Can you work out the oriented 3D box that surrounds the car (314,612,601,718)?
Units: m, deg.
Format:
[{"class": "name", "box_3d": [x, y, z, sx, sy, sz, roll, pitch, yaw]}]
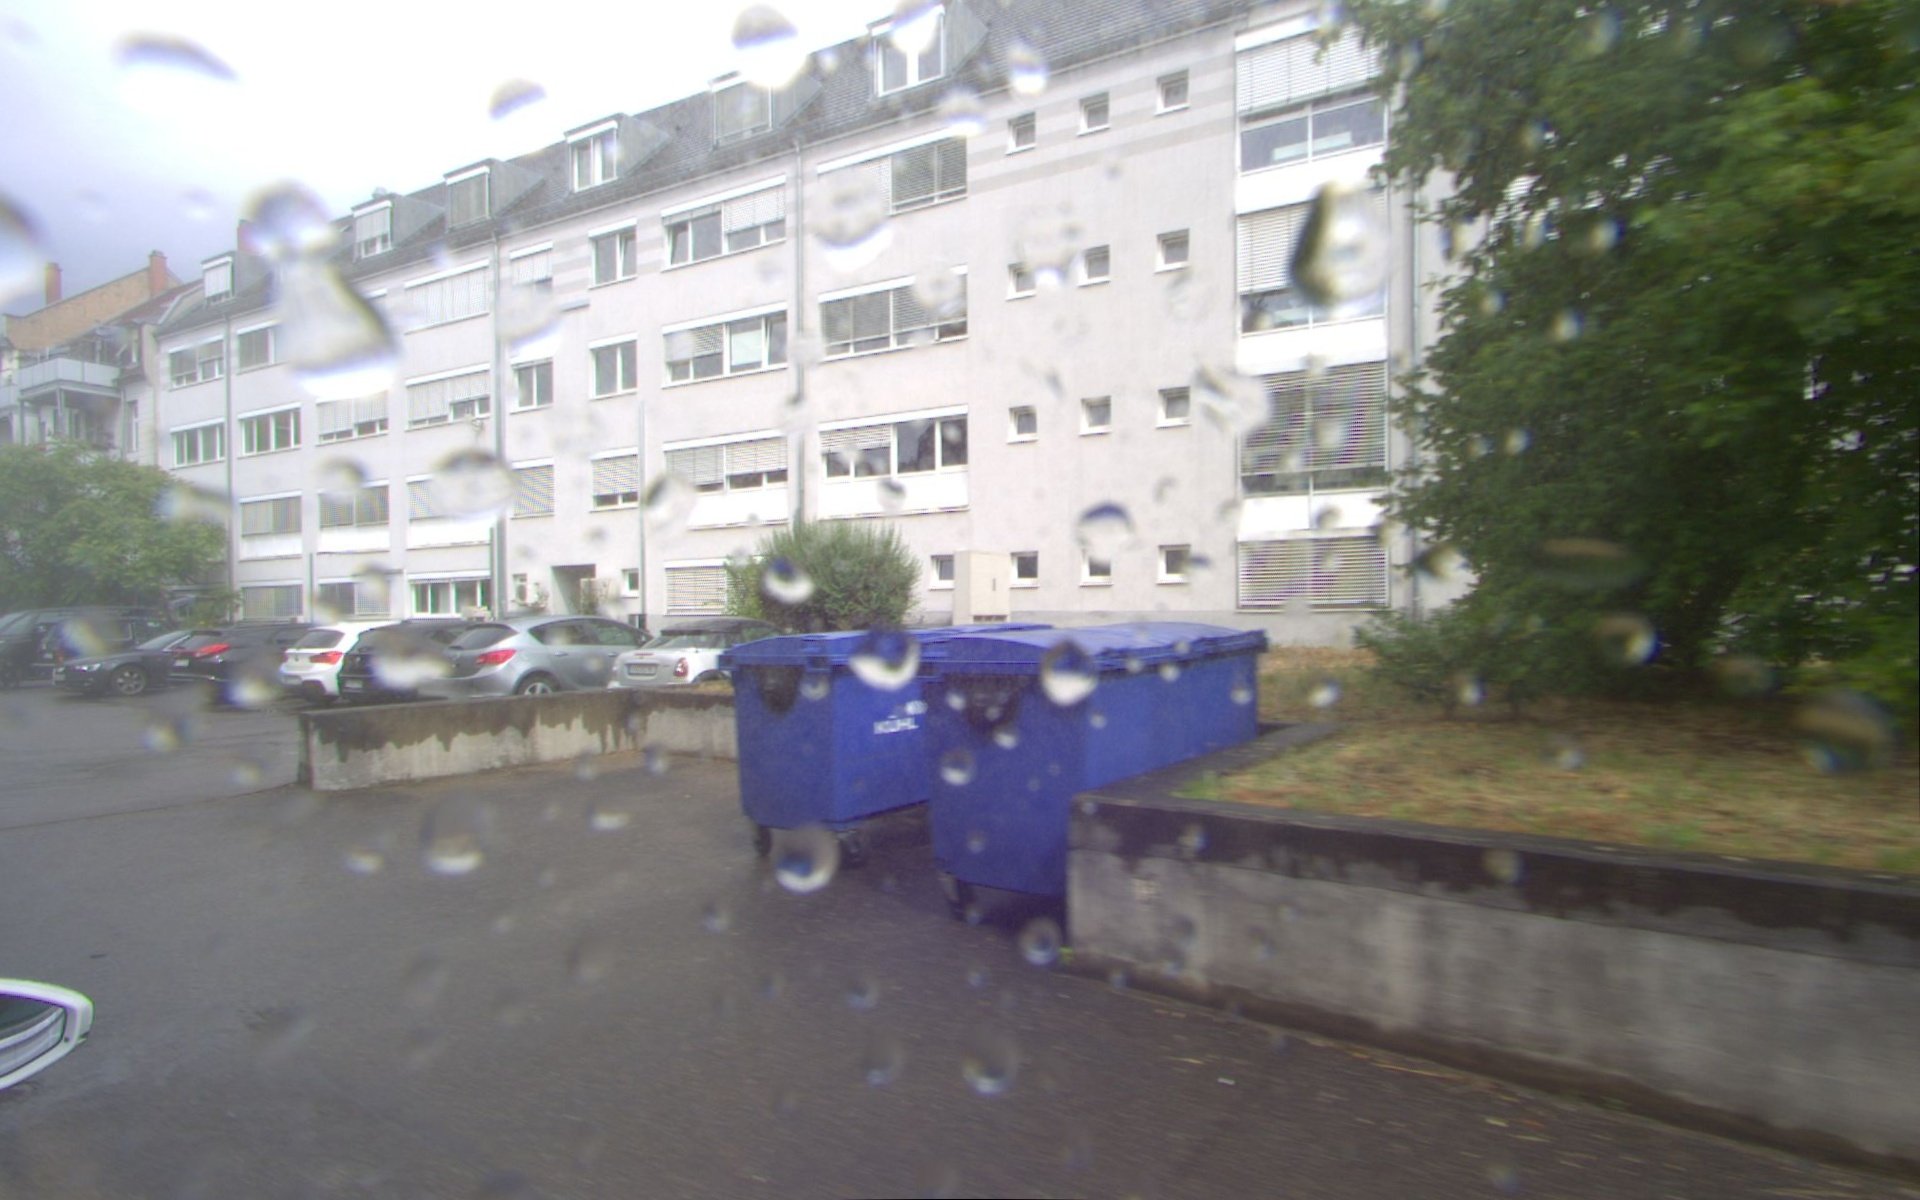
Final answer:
[{"class": "car", "box_3d": [-8.213, 0.968, 16.744, 1.746, 1.422, 3.980, 0, 1, 30]}]

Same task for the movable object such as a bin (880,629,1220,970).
[{"class": "movable object such as a bin", "box_3d": [0.472, 0.819, 4.823, 1.081, 1.309, 1.332, -1, 0, 37]}]

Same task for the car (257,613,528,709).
[{"class": "car", "box_3d": [-10.204, 1.027, 18.323, 1.746, 1.477, 3.982, -1, 0, 29]}]

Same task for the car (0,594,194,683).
[{"class": "car", "box_3d": [-22.276, 0.879, 24.896, 2.188, 2.030, 4.635, 0, 1, 24]}]

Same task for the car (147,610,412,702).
[{"class": "car", "box_3d": [-13.207, 1.015, 19.692, 1.791, 1.534, 3.905, -1, 0, 27]}]

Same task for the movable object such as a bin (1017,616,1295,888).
[{"class": "movable object such as a bin", "box_3d": [1.193, 0.792, 5.966, 1.181, 1.354, 1.288, -1, 0, 37]}]

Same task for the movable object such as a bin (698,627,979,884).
[{"class": "movable object such as a bin", "box_3d": [-0.716, 0.848, 6.177, 1.069, 1.321, 1.367, -1, 0, 37]}]

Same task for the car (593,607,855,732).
[{"class": "car", "box_3d": [-3.221, 0.884, 14.213, 1.664, 1.446, 3.407, -1, 1, 32]}]

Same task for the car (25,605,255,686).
[{"class": "car", "box_3d": [-19.562, 1.016, 24.058, 1.792, 1.710, 3.899, -1, 0, 33]}]

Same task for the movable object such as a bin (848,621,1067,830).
[{"class": "movable object such as a bin", "box_3d": [0.003, 0.828, 7.257, 1.092, 1.321, 1.182, -1, 1, 36]}]

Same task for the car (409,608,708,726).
[{"class": "car", "box_3d": [-5.970, 0.914, 15.356, 1.780, 1.465, 3.979, -1, 1, 31]}]

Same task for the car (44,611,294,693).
[{"class": "car", "box_3d": [-17.123, 1.069, 21.870, 1.726, 1.534, 3.903, -1, 0, 30]}]
